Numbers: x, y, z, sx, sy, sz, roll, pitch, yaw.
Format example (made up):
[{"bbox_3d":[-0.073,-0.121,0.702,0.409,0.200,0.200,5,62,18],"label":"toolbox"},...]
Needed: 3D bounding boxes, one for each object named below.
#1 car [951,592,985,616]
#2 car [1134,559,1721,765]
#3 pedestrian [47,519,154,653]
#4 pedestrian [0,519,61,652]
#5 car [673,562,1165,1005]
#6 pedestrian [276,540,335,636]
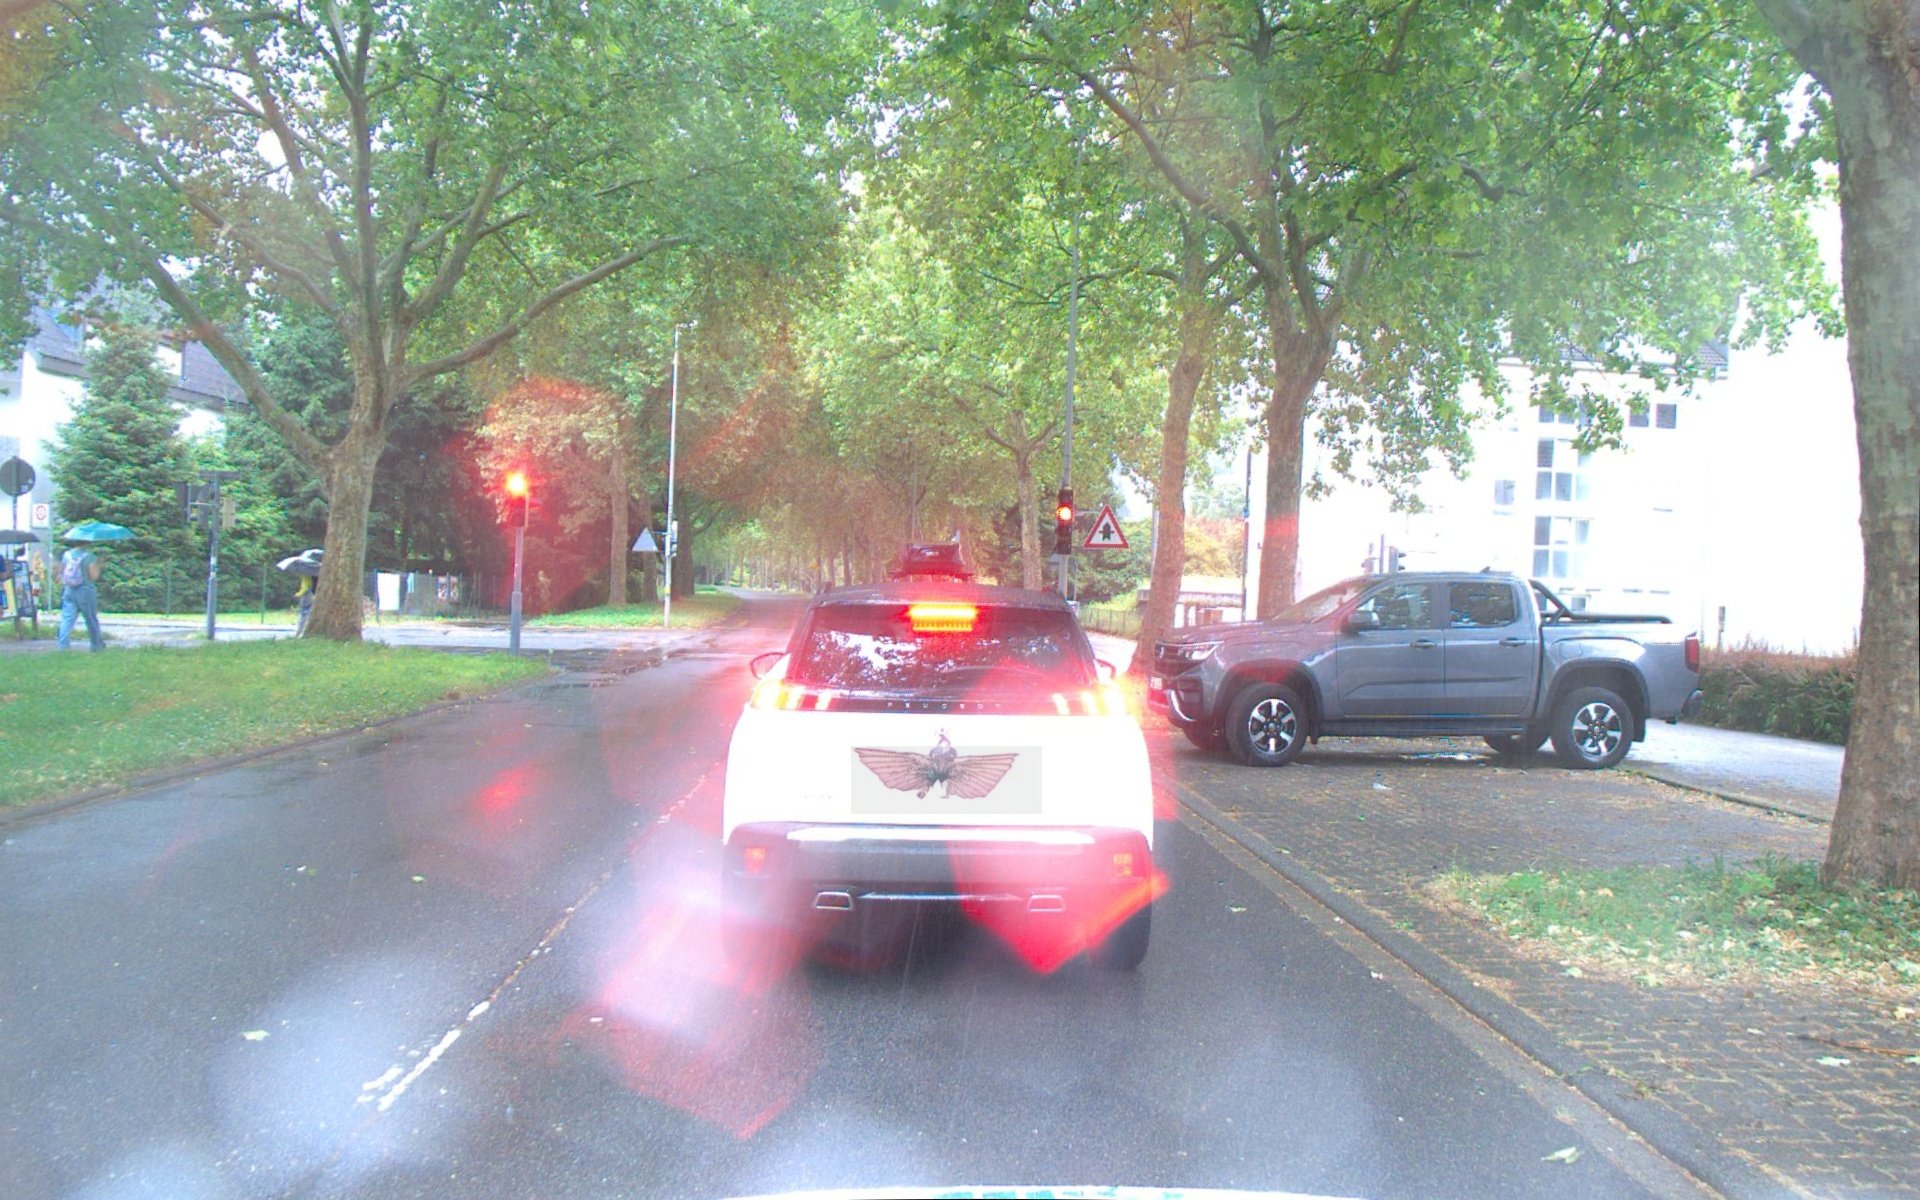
[{"bbox_3d":[0.522,0.251,112.002,1.868,1.536,3.927,2,0,-5],"label":"car"},{"bbox_3d":[4.486,0.591,16.209,5.238,1.838,1.842,1,0,-8],"label":"car"},{"bbox_3d":[-11.912,-0.197,22.960,1.012,1.796,0.838,1,0,-1],"label":"pedestrian"},{"bbox_3d":[-13.208,-0.204,22.885,1.012,1.796,0.879,1,0,-1],"label":"pedestrian"},{"bbox_3d":[-0.186,0.648,8.008,1.744,1.563,4.056,1,0,-1],"label":"car"},{"bbox_3d":[-12.328,-0.227,31.175,0.804,1.775,0.639,2,0,-4],"label":"pedestrian"}]
